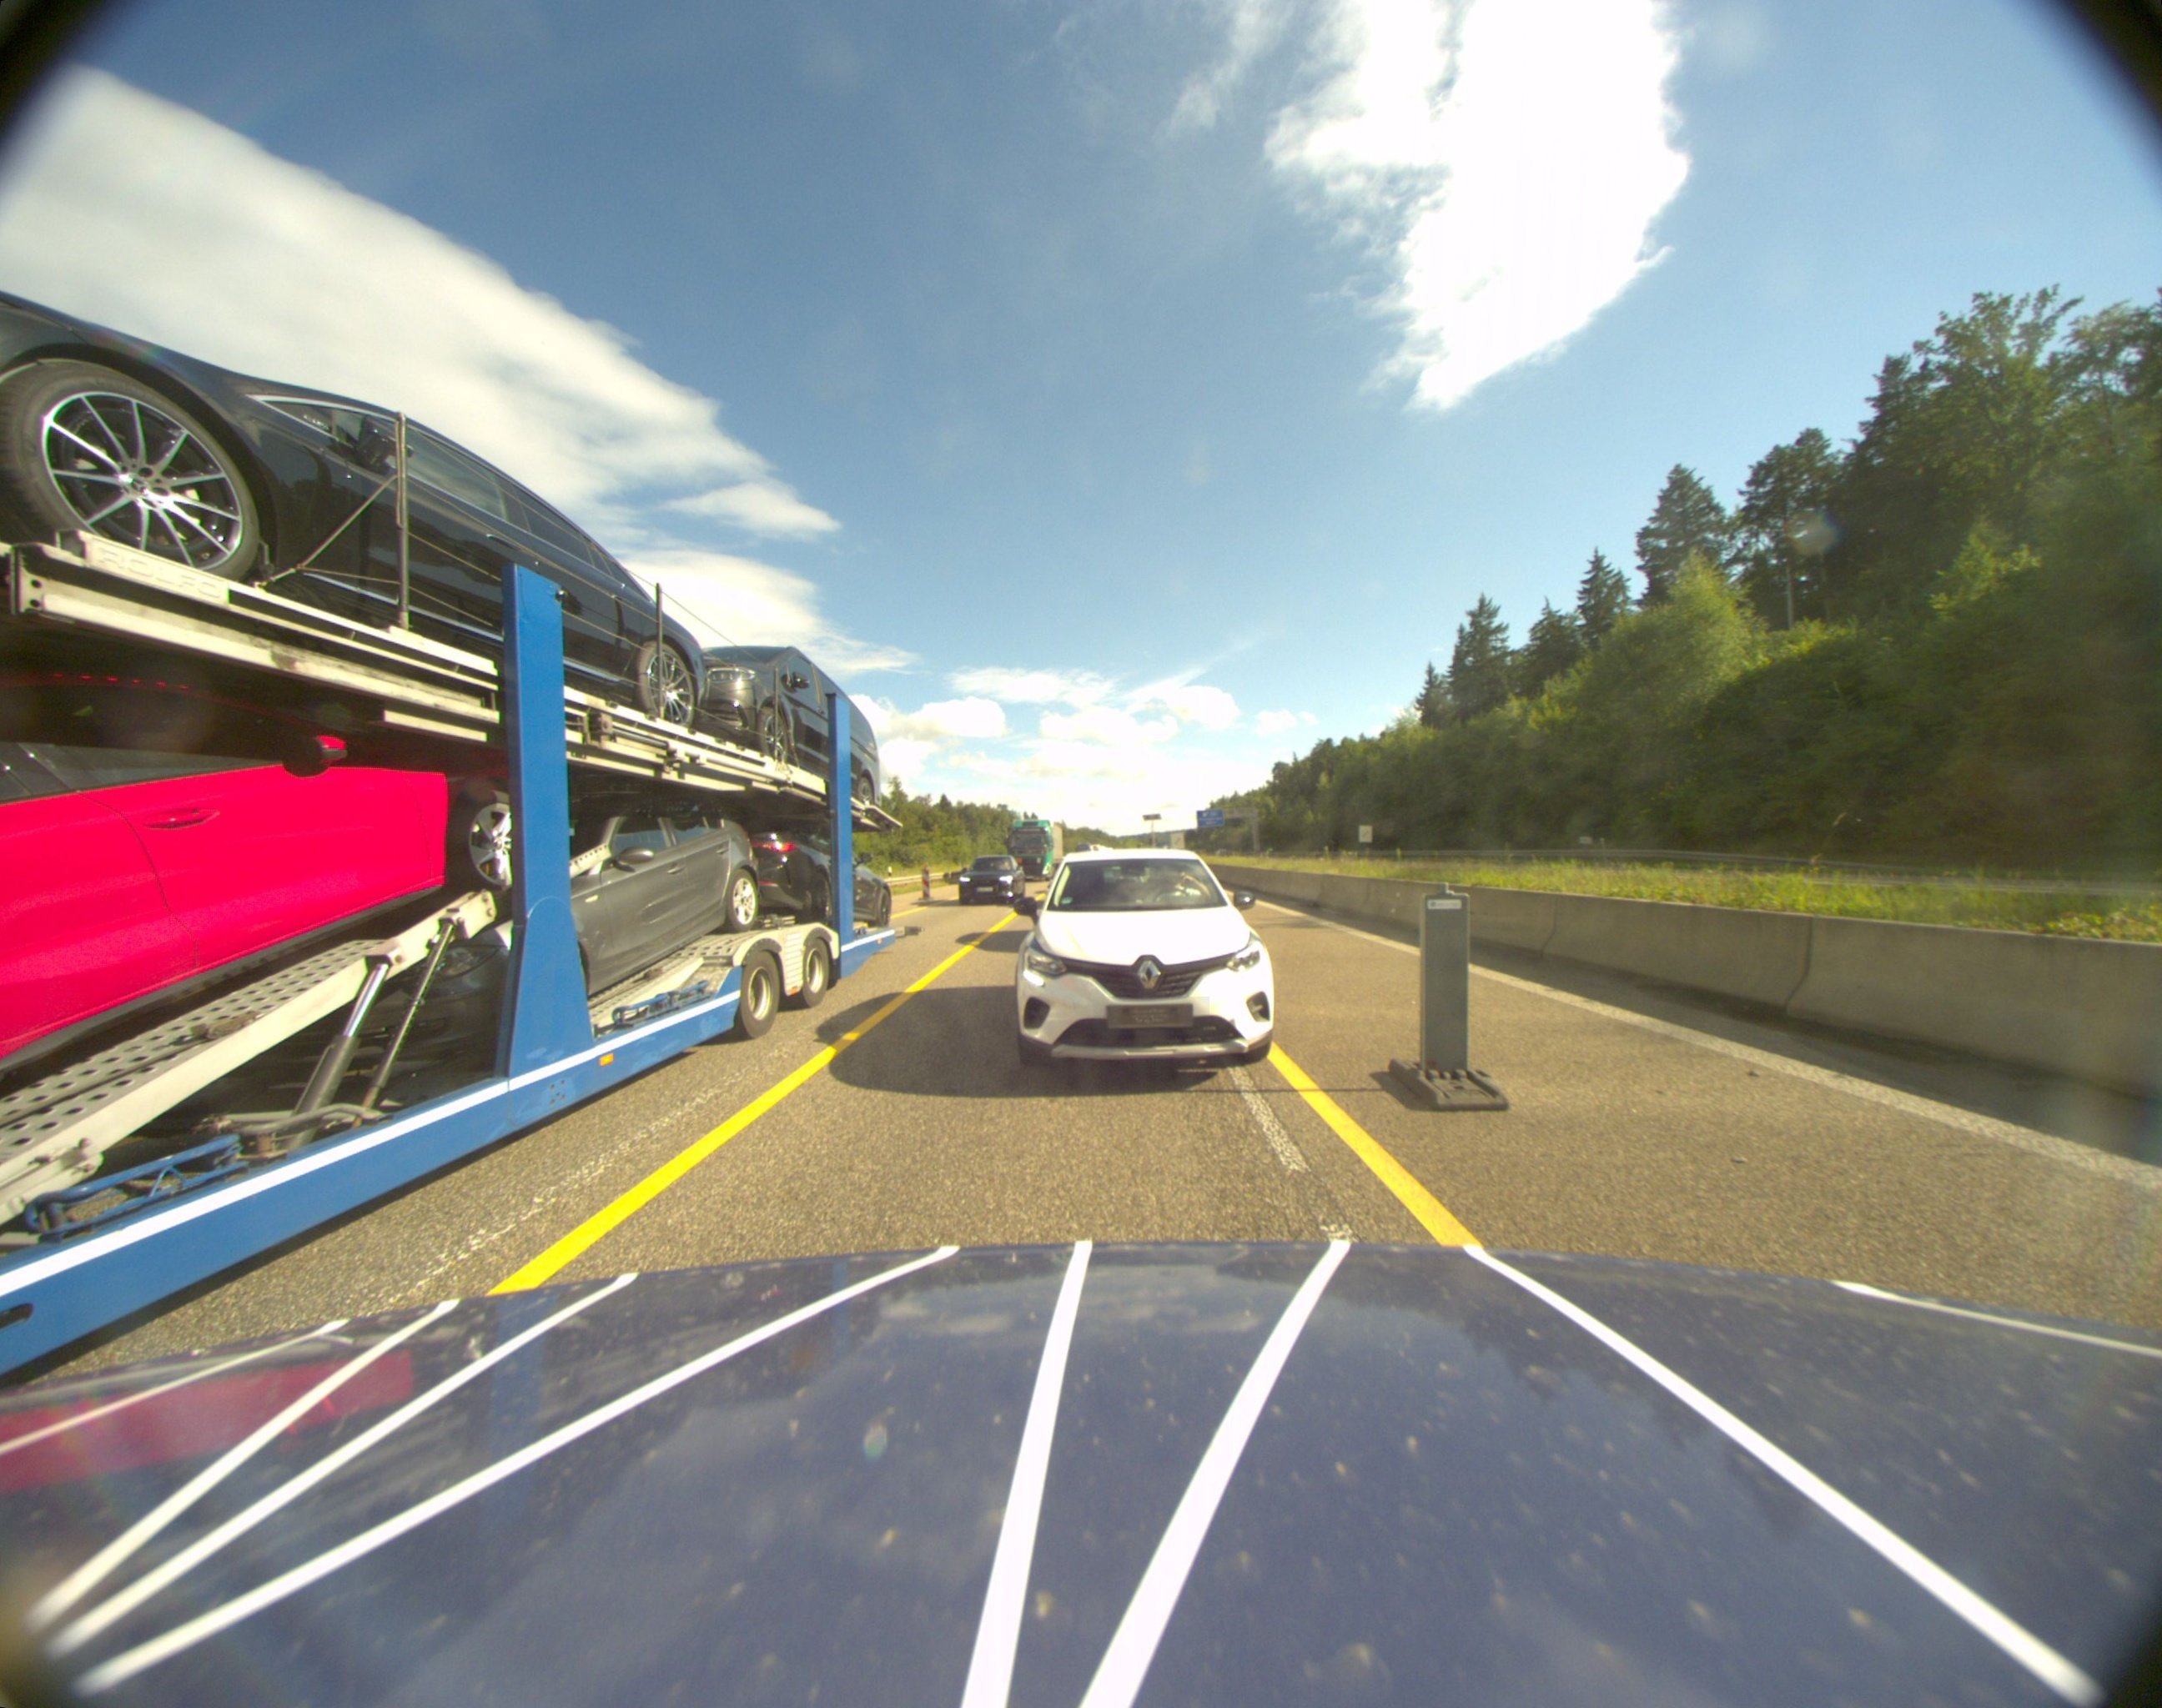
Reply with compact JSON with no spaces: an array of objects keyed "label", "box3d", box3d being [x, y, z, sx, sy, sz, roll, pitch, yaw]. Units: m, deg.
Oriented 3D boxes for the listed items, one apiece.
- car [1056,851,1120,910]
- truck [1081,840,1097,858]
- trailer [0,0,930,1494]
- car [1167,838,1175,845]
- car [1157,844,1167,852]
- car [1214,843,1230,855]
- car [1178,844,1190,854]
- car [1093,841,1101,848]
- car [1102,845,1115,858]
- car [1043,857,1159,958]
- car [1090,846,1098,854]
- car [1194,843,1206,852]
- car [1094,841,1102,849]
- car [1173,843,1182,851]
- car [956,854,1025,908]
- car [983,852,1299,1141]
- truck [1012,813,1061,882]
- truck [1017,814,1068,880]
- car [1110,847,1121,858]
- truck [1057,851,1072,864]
[{"label":"car","box3d":[0.239,0.761,23.897,1.782,1.593,4.017,-2,1,1]},{"label":"truck","box3d":[1.448,-0.965,140.208,2.576,3.167,6.802,-2,1,3]},{"label":"trailer","box3d":[-4.727,-0.360,4.889,3.735,4.172,16.226,-2,1,1]},{"label":"car","box3d":[26.430,-3.742,223.439,1.998,2.002,3.999,-2,1,1]},{"label":"car","box3d":[21.281,-1.593,199.824,1.998,2.002,3.999,-2,1,1]},{"label":"car","box3d":[23.729,-0.874,127.933,1.998,2.002,3.999,-2,1,1]},{"label":"car","box3d":[21.376,-1.120,157.665,1.998,2.002,3.999,-2,1,1]},{"label":"car","box3d":[4.054,-2.429,192.991,1.750,1.787,3.999,-2,1,0]},{"label":"car","box3d":[4.558,-0.453,125.534,1.998,2.002,3.999,-2,1,1]},{"label":"car","box3d":[0.342,0.851,13.972,1.782,1.468,4.017,-2,1,1]},{"label":"car","box3d":[2.829,-0.916,170.757,1.750,1.787,3.999,-2,1,0]},{"label":"car","box3d":[26.062,-1.395,166.035,1.998,2.002,3.999,-2,1,1]},{"label":"car","box3d":[3.999,-2.100,182.314,1.750,1.787,3.999,-2,1,0]},{"label":"car","box3d":[26.962,-1.958,212.743,1.998,2.002,3.999,-2,1,1]},{"label":"car","box3d":[-3.042,0.860,26.333,1.782,1.593,4.293,-2,1,1]},{"label":"car","box3d":[0.380,0.831,6.441,1.782,1.593,4.017,-2,1,1]},{"label":"truck","box3d":[-2.782,-0.449,49.381,2.528,4.076,6.855,-2,1,1]},{"label":"truck","box3d":[-2.619,-0.538,55.842,2.470,4.120,14.209,-2,1,2]},{"label":"car","box3d":[6.382,-0.252,140.615,1.998,2.002,4.000,-2,1,3]},{"label":"truck","box3d":[-1.730,0.383,78.777,1.468,1.215,3.087,-2,1,-2]}]
